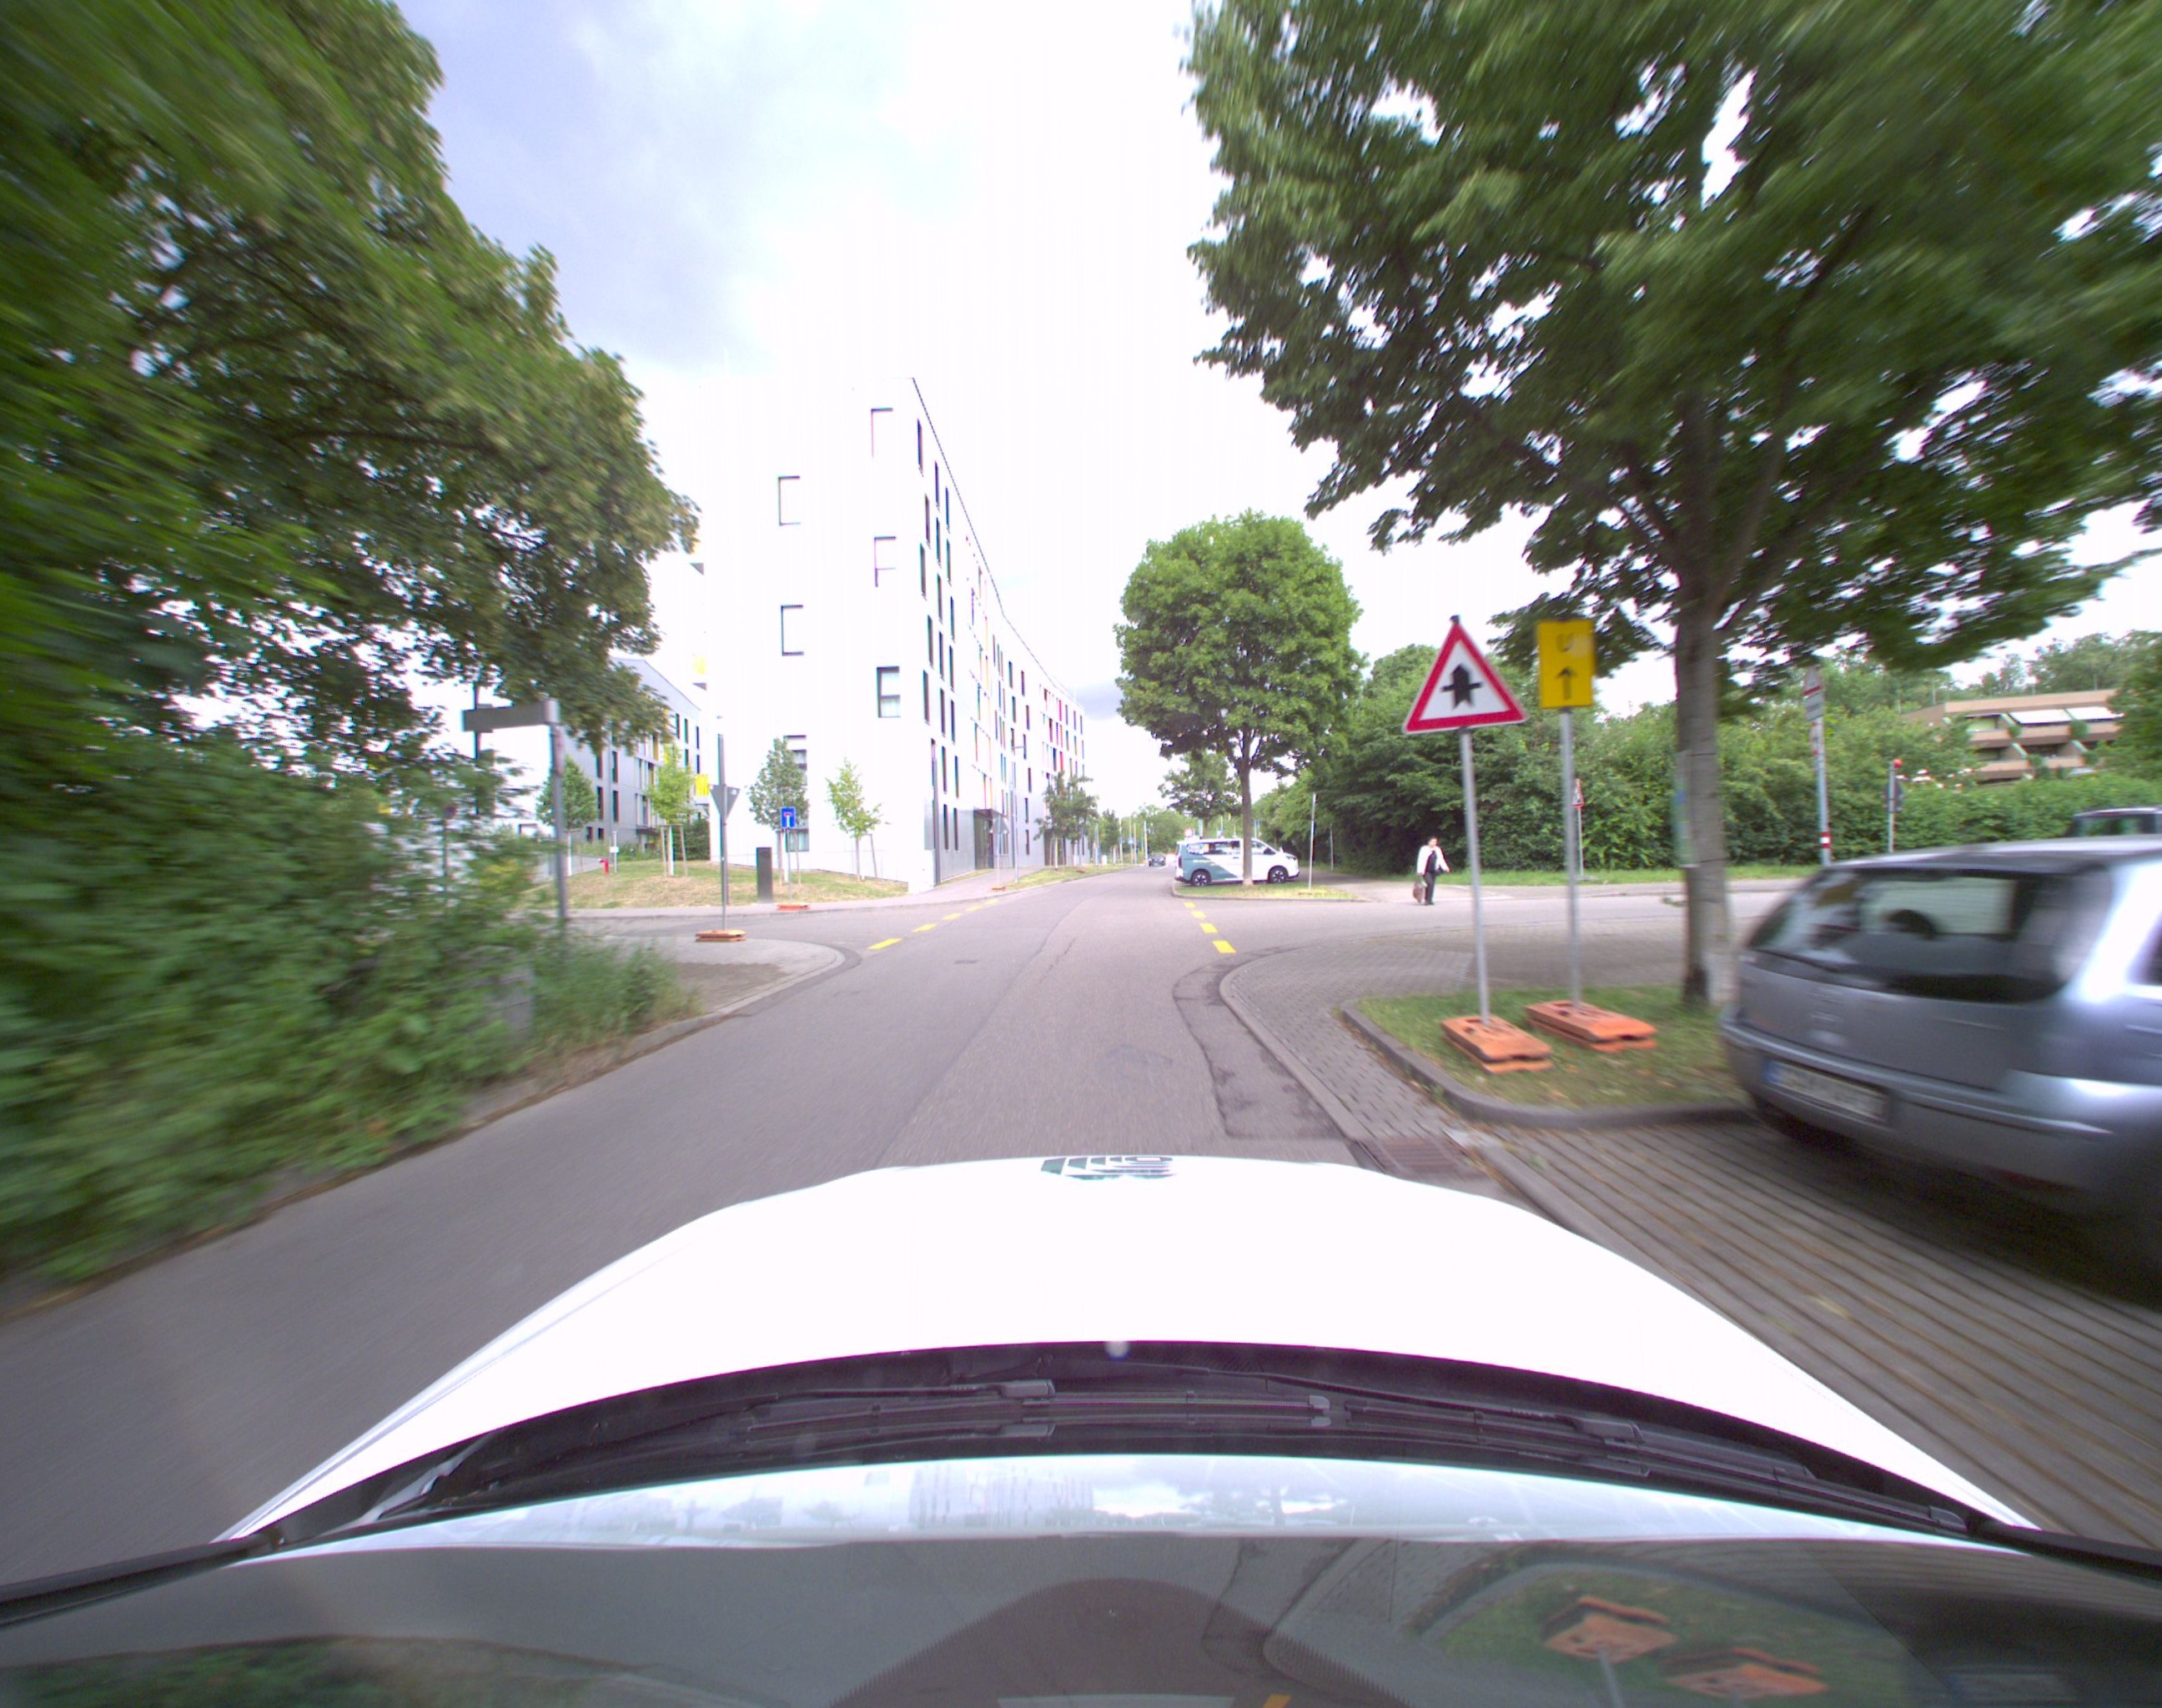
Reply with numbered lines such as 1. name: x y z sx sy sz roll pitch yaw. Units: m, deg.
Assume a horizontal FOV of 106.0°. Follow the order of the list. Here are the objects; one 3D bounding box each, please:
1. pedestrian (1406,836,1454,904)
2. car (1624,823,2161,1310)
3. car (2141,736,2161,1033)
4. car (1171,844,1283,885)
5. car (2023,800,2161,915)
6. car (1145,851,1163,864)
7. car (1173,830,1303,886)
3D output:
1. pedestrian: 8.329 0.372 19.483 0.830 1.576 0.811 -2 0 8
2. car: 4.767 0.579 3.303 3.816 1.403 1.854 -3 -1 3
3. car: 4.500 0.431 0.761 4.103 1.650 1.983 -3 -1 5
4. car: 6.413 0.453 36.082 4.679 1.516 1.850 -3 0 6
5. car: 17.479 -0.013 12.442 3.757 1.668 1.772 -2 0 9
6. car: 7.978 0.401 89.211 1.599 1.388 4.011 0 0 10
7. car: 6.352 0.165 33.456 4.952 1.972 1.848 -3 0 2
